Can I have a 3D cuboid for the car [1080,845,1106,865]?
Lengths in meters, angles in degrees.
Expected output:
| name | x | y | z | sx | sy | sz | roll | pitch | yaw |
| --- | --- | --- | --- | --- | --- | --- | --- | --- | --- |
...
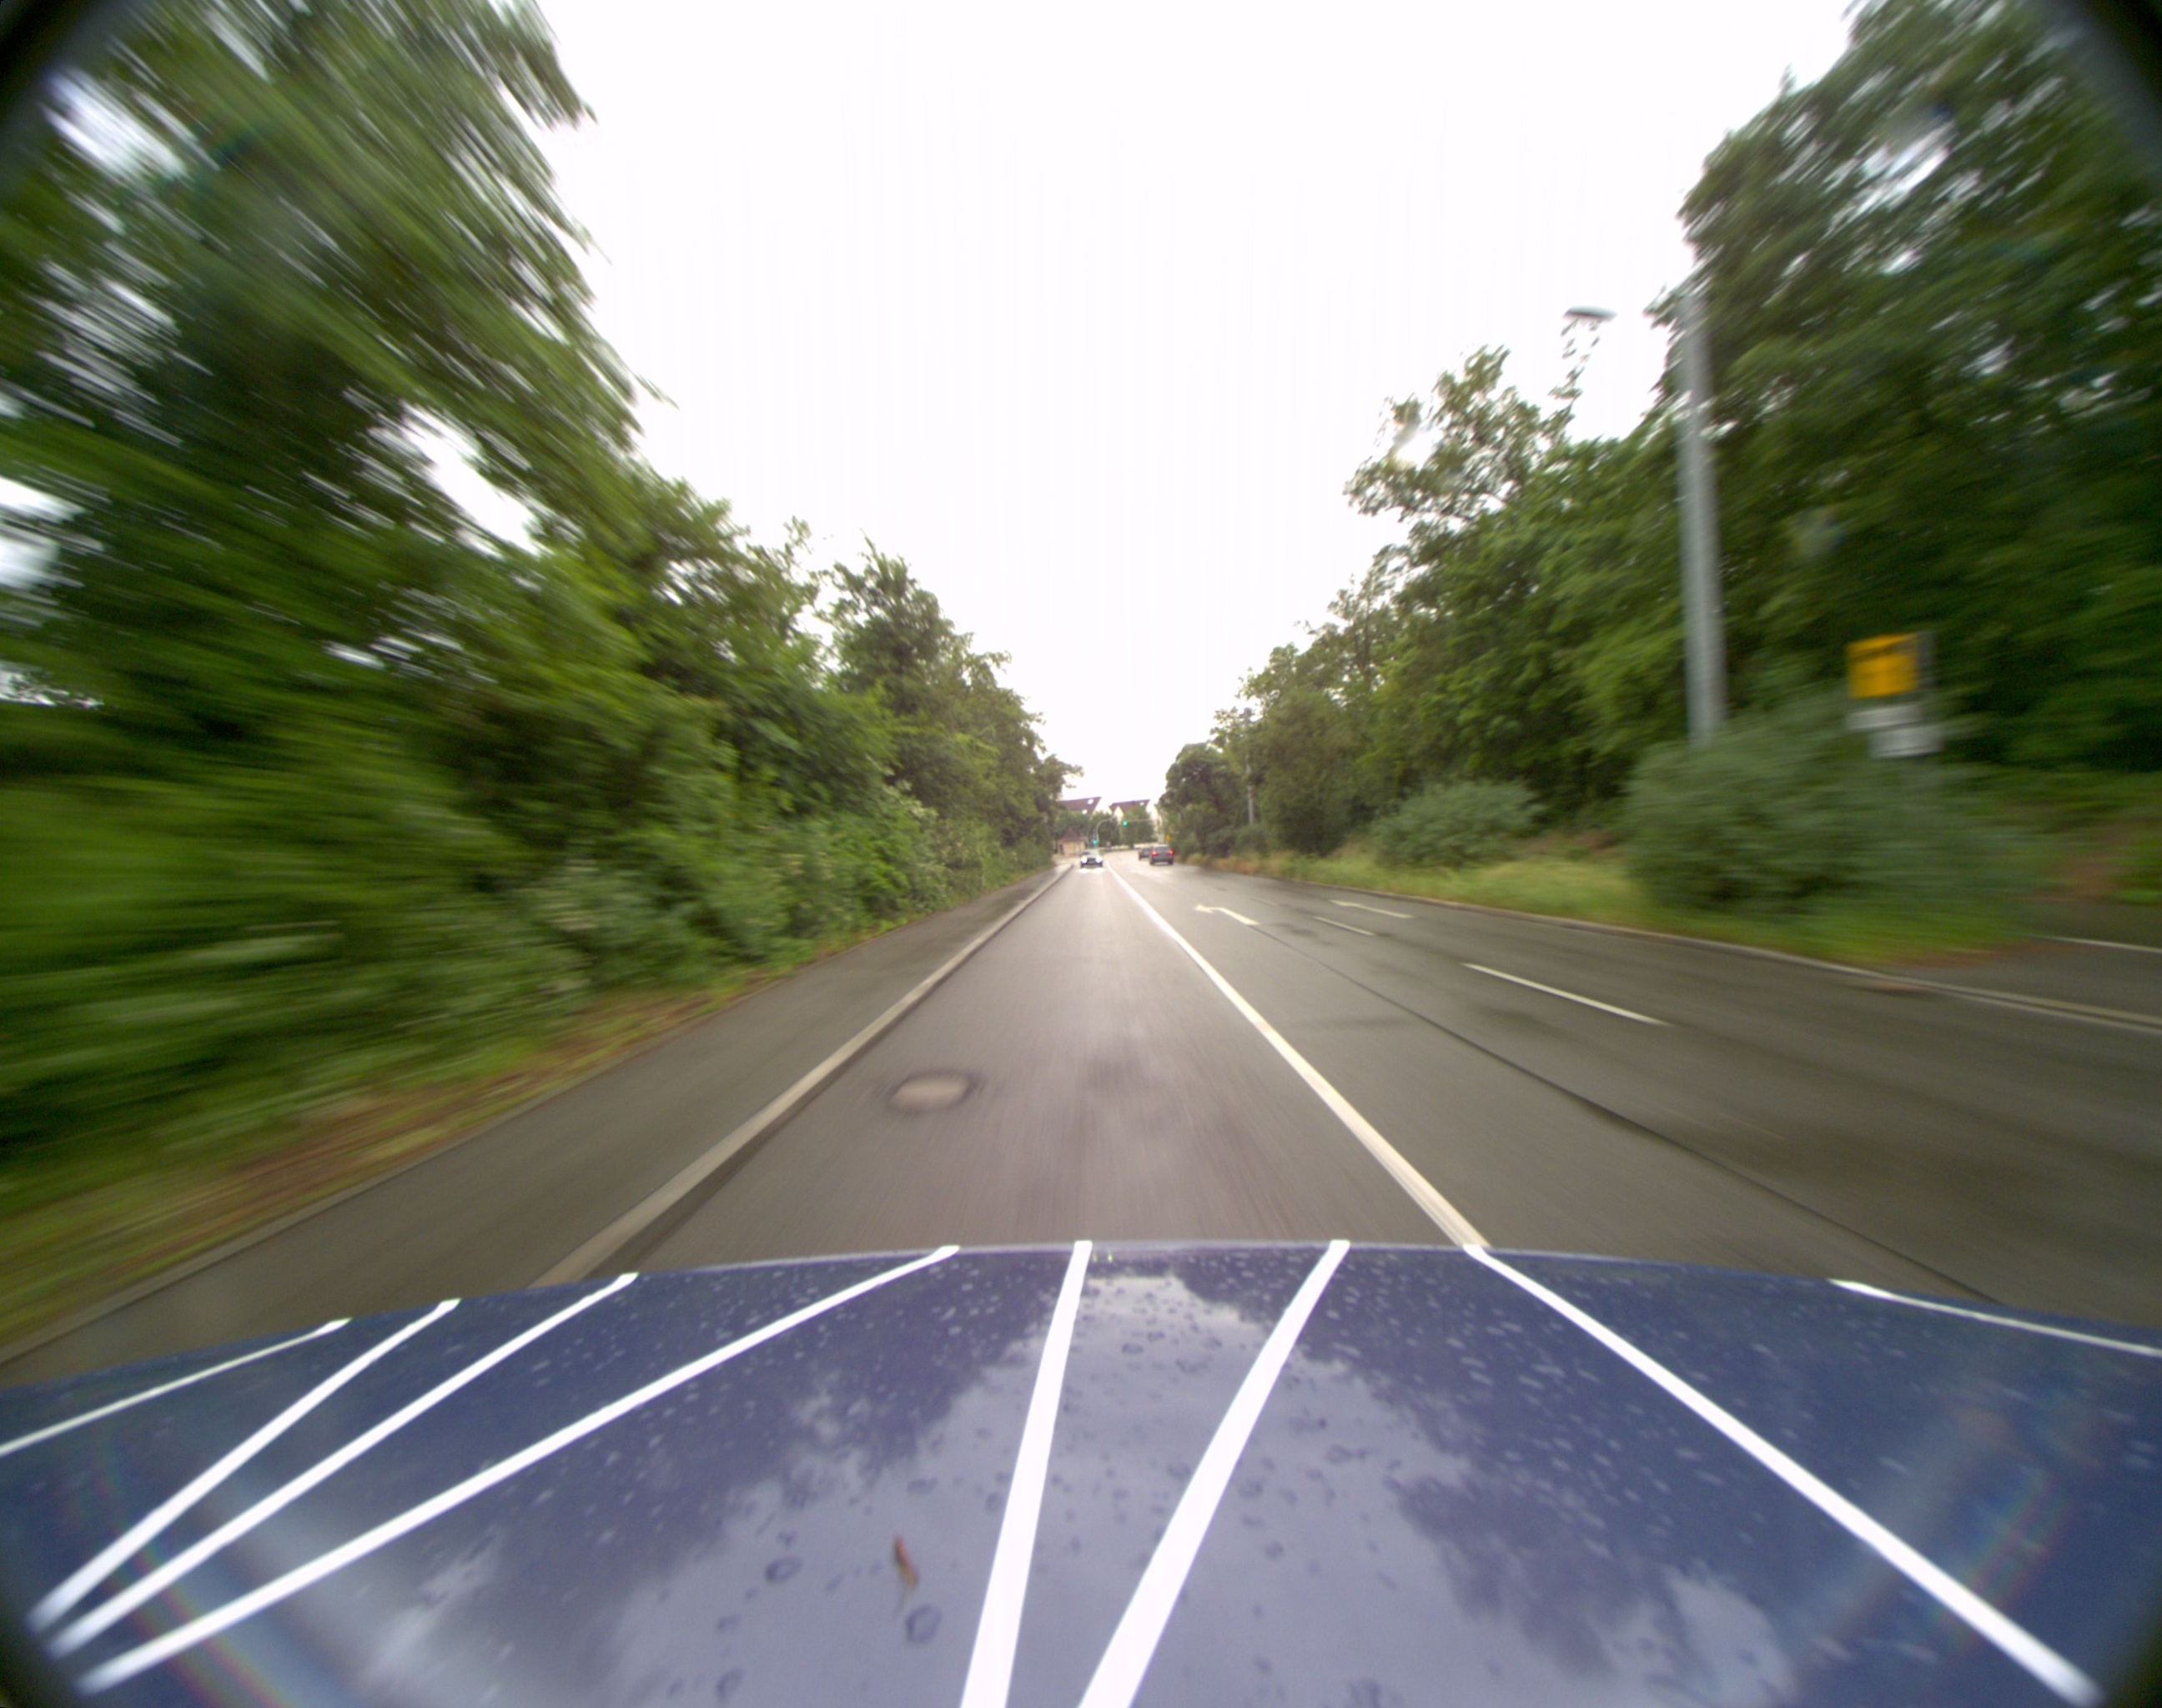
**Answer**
| name | x | y | z | sx | sy | sz | roll | pitch | yaw |
| --- | --- | --- | --- | --- | --- | --- | --- | --- | --- |
| car | 0.906 | 0.122 | 60.775 | 1.832 | 1.511 | 3.999 | 2 | -1 | -3 |
